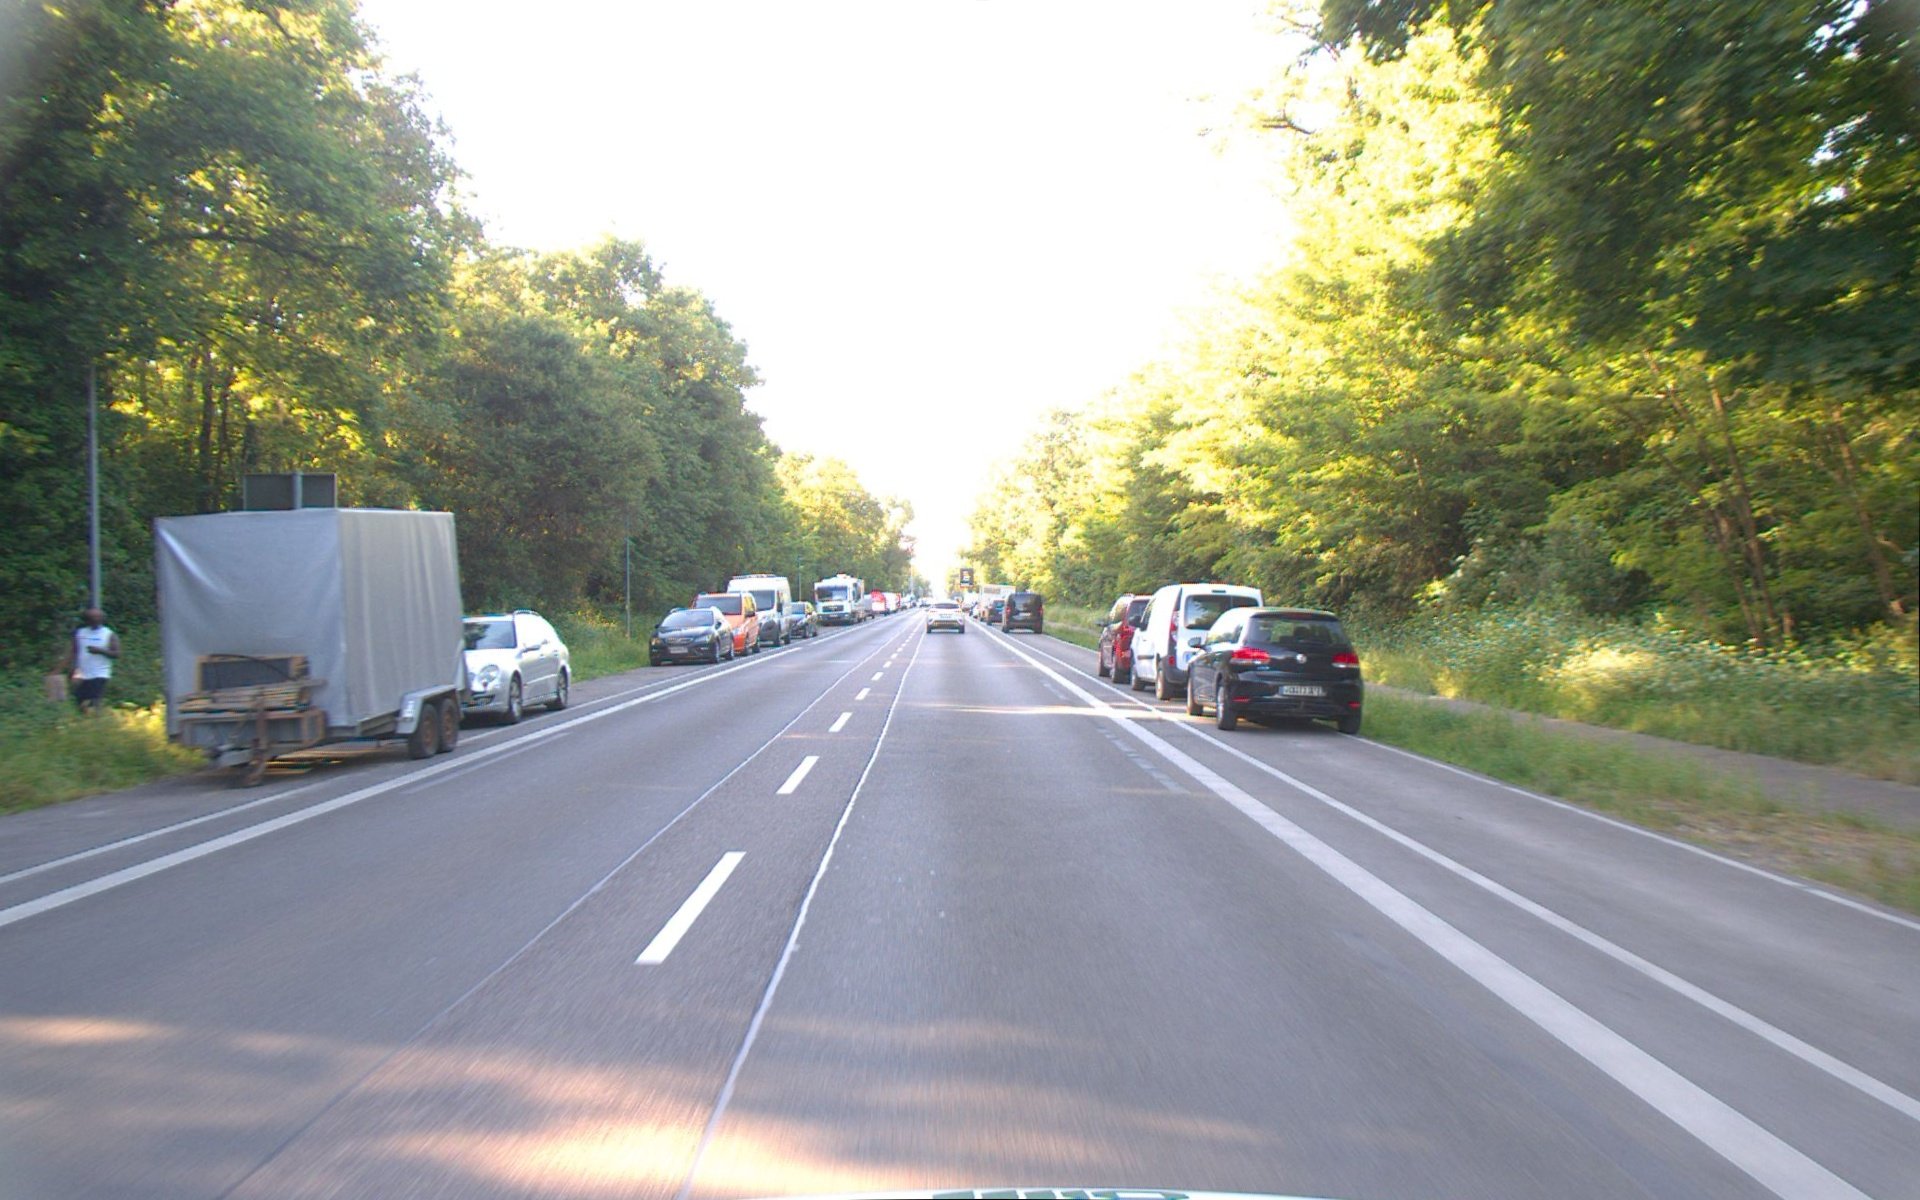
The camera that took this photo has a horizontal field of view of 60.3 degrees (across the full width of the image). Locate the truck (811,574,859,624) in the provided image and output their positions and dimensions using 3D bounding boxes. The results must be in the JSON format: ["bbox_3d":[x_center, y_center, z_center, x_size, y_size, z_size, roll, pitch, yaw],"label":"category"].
[{"bbox_3d":[-8.236,-0.052,109.715,2.652,3.148,7.988,0,0,0],"label":"truck"}]

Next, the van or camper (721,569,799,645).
[{"bbox_3d":[-7.337,0.239,61.263,2.077,2.617,6.541,-1,0,0],"label":"van or camper"}]

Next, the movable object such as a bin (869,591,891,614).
[{"bbox_3d":[-8.817,0.294,183.316,2.275,2.545,3.999,0,0,-1],"label":"movable object such as a bin"}]

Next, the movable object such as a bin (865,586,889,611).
[{"bbox_3d":[-8.498,-0.171,168.790,2.275,2.545,3.999,0,0,-1],"label":"movable object such as a bin"}]

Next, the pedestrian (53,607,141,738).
[{"bbox_3d":[-11.003,0.906,21.104,0.743,1.635,0.716,0,0,-1],"label":"pedestrian"}]

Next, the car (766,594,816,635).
[{"bbox_3d":[-7.467,0.629,73.384,1.745,1.713,4.377,-2,0,0],"label":"car"}]

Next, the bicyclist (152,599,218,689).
[{"bbox_3d":[-11.055,0.613,23.609,0.477,1.256,0.974,0,0,-1],"label":"bicyclist"}]

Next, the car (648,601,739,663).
[{"bbox_3d":[-7.012,0.816,43.957,1.696,1.504,4.323,-2,0,0],"label":"car"}]

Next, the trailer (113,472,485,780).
[{"bbox_3d":[-6.483,0.230,16.847,1.953,2.643,4.415,-2,0,-1],"label":"trailer"}]

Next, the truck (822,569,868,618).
[{"bbox_3d":[-8.387,-0.434,121.548,2.652,3.406,10.922,0,0,0],"label":"truck"}]

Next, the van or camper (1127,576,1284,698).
[{"bbox_3d":[3.962,0.563,27.426,1.911,1.847,4.380,0,0,-1],"label":"van or camper"}]

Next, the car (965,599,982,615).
[{"bbox_3d":[1.280,0.689,161.757,1.622,1.504,3.753,0,0,-1],"label":"car"}]

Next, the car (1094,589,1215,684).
[{"bbox_3d":[3.746,0.664,32.463,1.797,1.689,4.337,2,0,0],"label":"car"}]

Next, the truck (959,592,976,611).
[{"bbox_3d":[0.955,0.157,216.731,2.054,2.495,5.679,0,0,-1],"label":"truck"}]

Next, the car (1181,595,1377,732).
[{"bbox_3d":[3.962,0.730,21.171,1.656,1.551,4.149,1,0,-1],"label":"car"}]

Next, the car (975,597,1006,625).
[{"bbox_3d":[1.899,0.654,103.819,1.803,1.691,4.000,1,0,0],"label":"car"}]

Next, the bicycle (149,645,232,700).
[{"bbox_3d":[-11.038,1.024,23.761,0.511,0.725,1.487,0,0,-1],"label":"bicycle"}]

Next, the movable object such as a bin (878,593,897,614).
[{"bbox_3d":[-8.988,0.405,205.905,2.275,2.545,3.999,0,0,-1],"label":"movable object such as a bin"}]

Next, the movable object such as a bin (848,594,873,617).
[{"bbox_3d":[-8.676,0.473,144.494,1.914,2.049,3.999,0,0,-1],"label":"movable object such as a bin"}]

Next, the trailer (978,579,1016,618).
[{"bbox_3d":[2.788,-0.123,125.834,2.701,2.920,6.587,0,0,-1],"label":"trailer"}]

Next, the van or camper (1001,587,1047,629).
[{"bbox_3d":[3.095,0.368,81.069,1.953,1.966,5.198,1,0,-1],"label":"van or camper"}]

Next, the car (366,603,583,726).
[{"bbox_3d":[-6.609,0.815,23.039,1.761,1.479,4.623,-2,0,-2],"label":"car"}]

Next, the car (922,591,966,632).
[{"bbox_3d":[-0.739,0.537,77.903,1.987,1.872,4.028,0,0,0],"label":"car"}]

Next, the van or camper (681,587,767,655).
[{"bbox_3d":[-7.127,0.601,50.361,1.884,1.899,4.862,-2,0,0],"label":"van or camper"}]
